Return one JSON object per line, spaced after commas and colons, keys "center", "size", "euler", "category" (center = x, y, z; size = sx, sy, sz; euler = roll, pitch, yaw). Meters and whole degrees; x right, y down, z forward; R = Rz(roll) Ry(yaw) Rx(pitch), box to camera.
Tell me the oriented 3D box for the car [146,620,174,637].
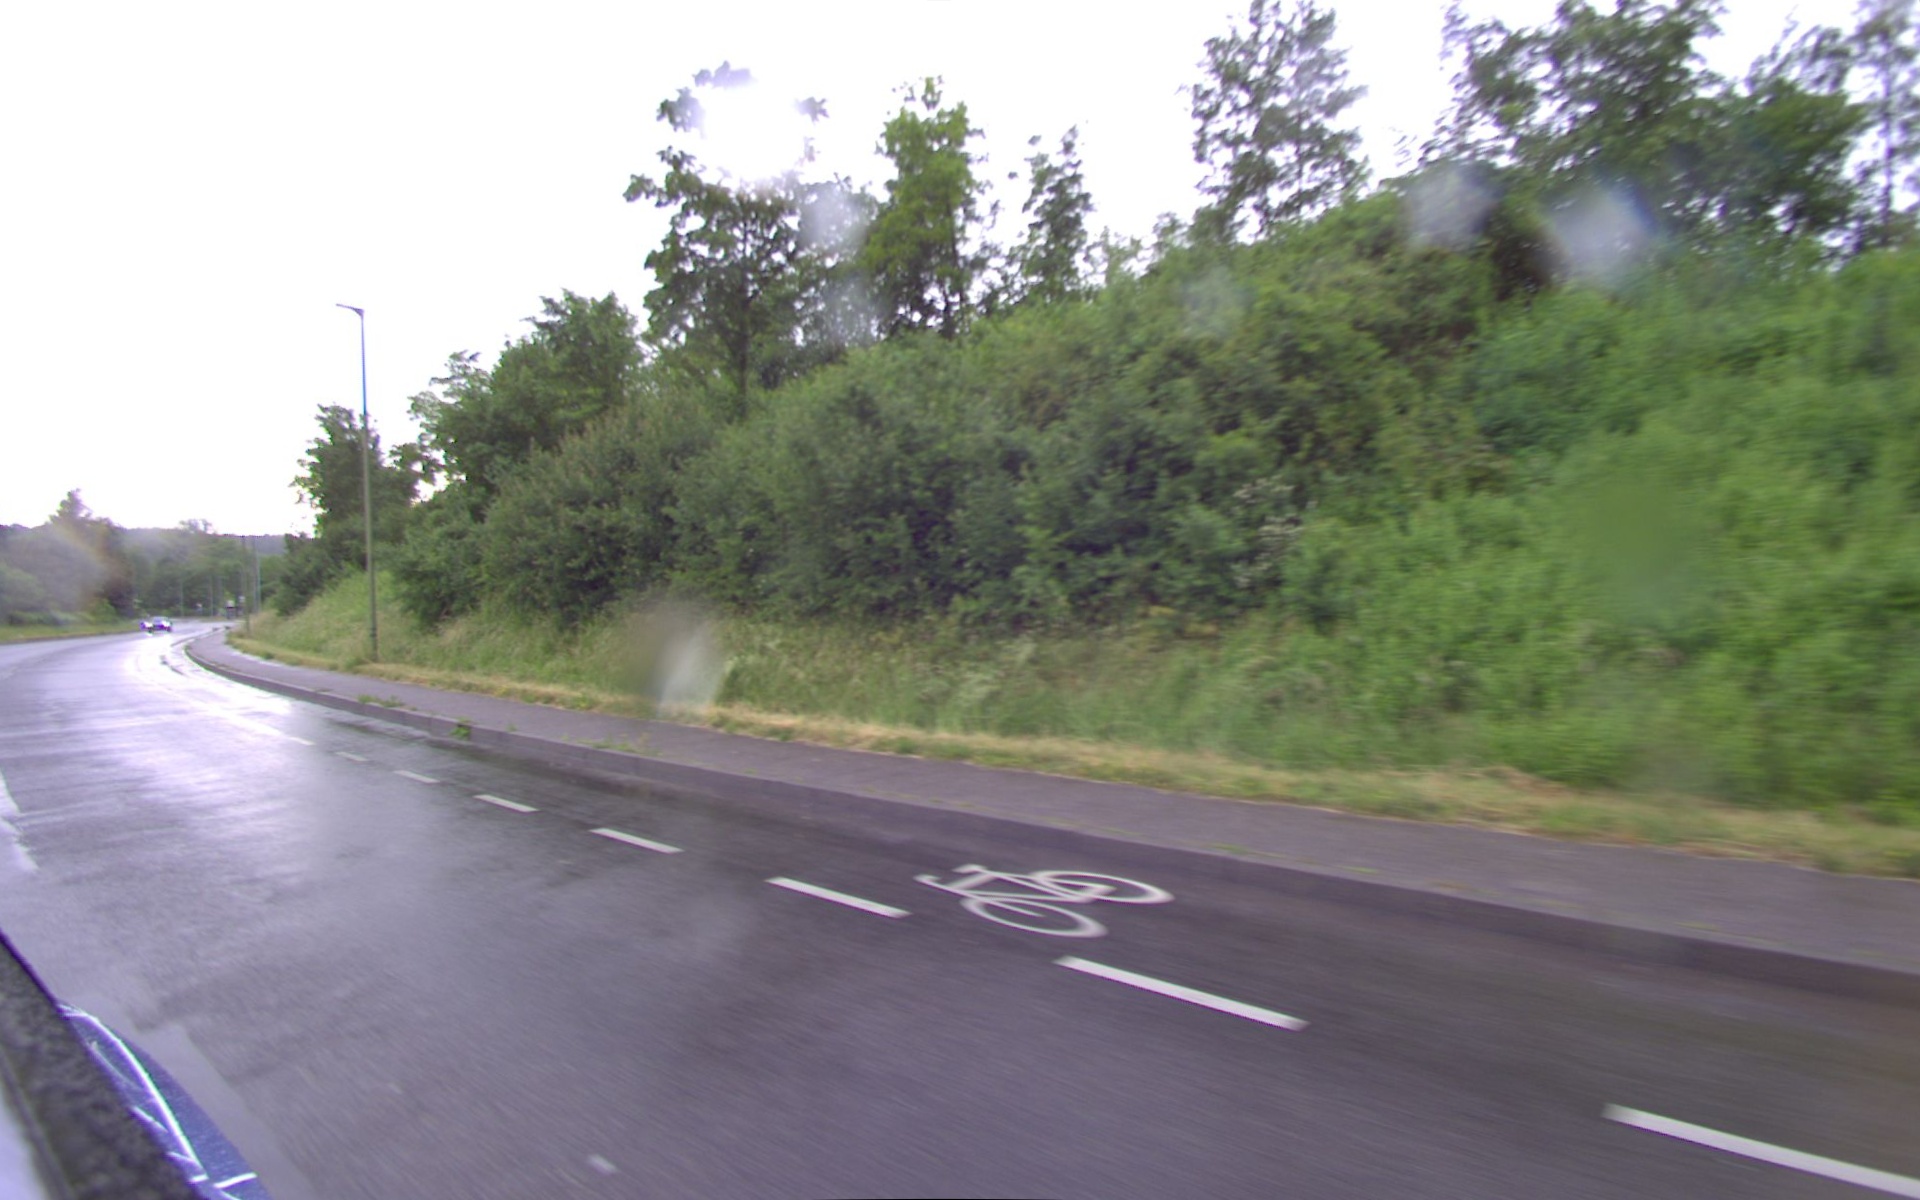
{"center": [-78.755, 2.796, 99.627], "size": [1.849, 1.618, 4.010], "euler": [1, -1, -34], "category": "car"}
